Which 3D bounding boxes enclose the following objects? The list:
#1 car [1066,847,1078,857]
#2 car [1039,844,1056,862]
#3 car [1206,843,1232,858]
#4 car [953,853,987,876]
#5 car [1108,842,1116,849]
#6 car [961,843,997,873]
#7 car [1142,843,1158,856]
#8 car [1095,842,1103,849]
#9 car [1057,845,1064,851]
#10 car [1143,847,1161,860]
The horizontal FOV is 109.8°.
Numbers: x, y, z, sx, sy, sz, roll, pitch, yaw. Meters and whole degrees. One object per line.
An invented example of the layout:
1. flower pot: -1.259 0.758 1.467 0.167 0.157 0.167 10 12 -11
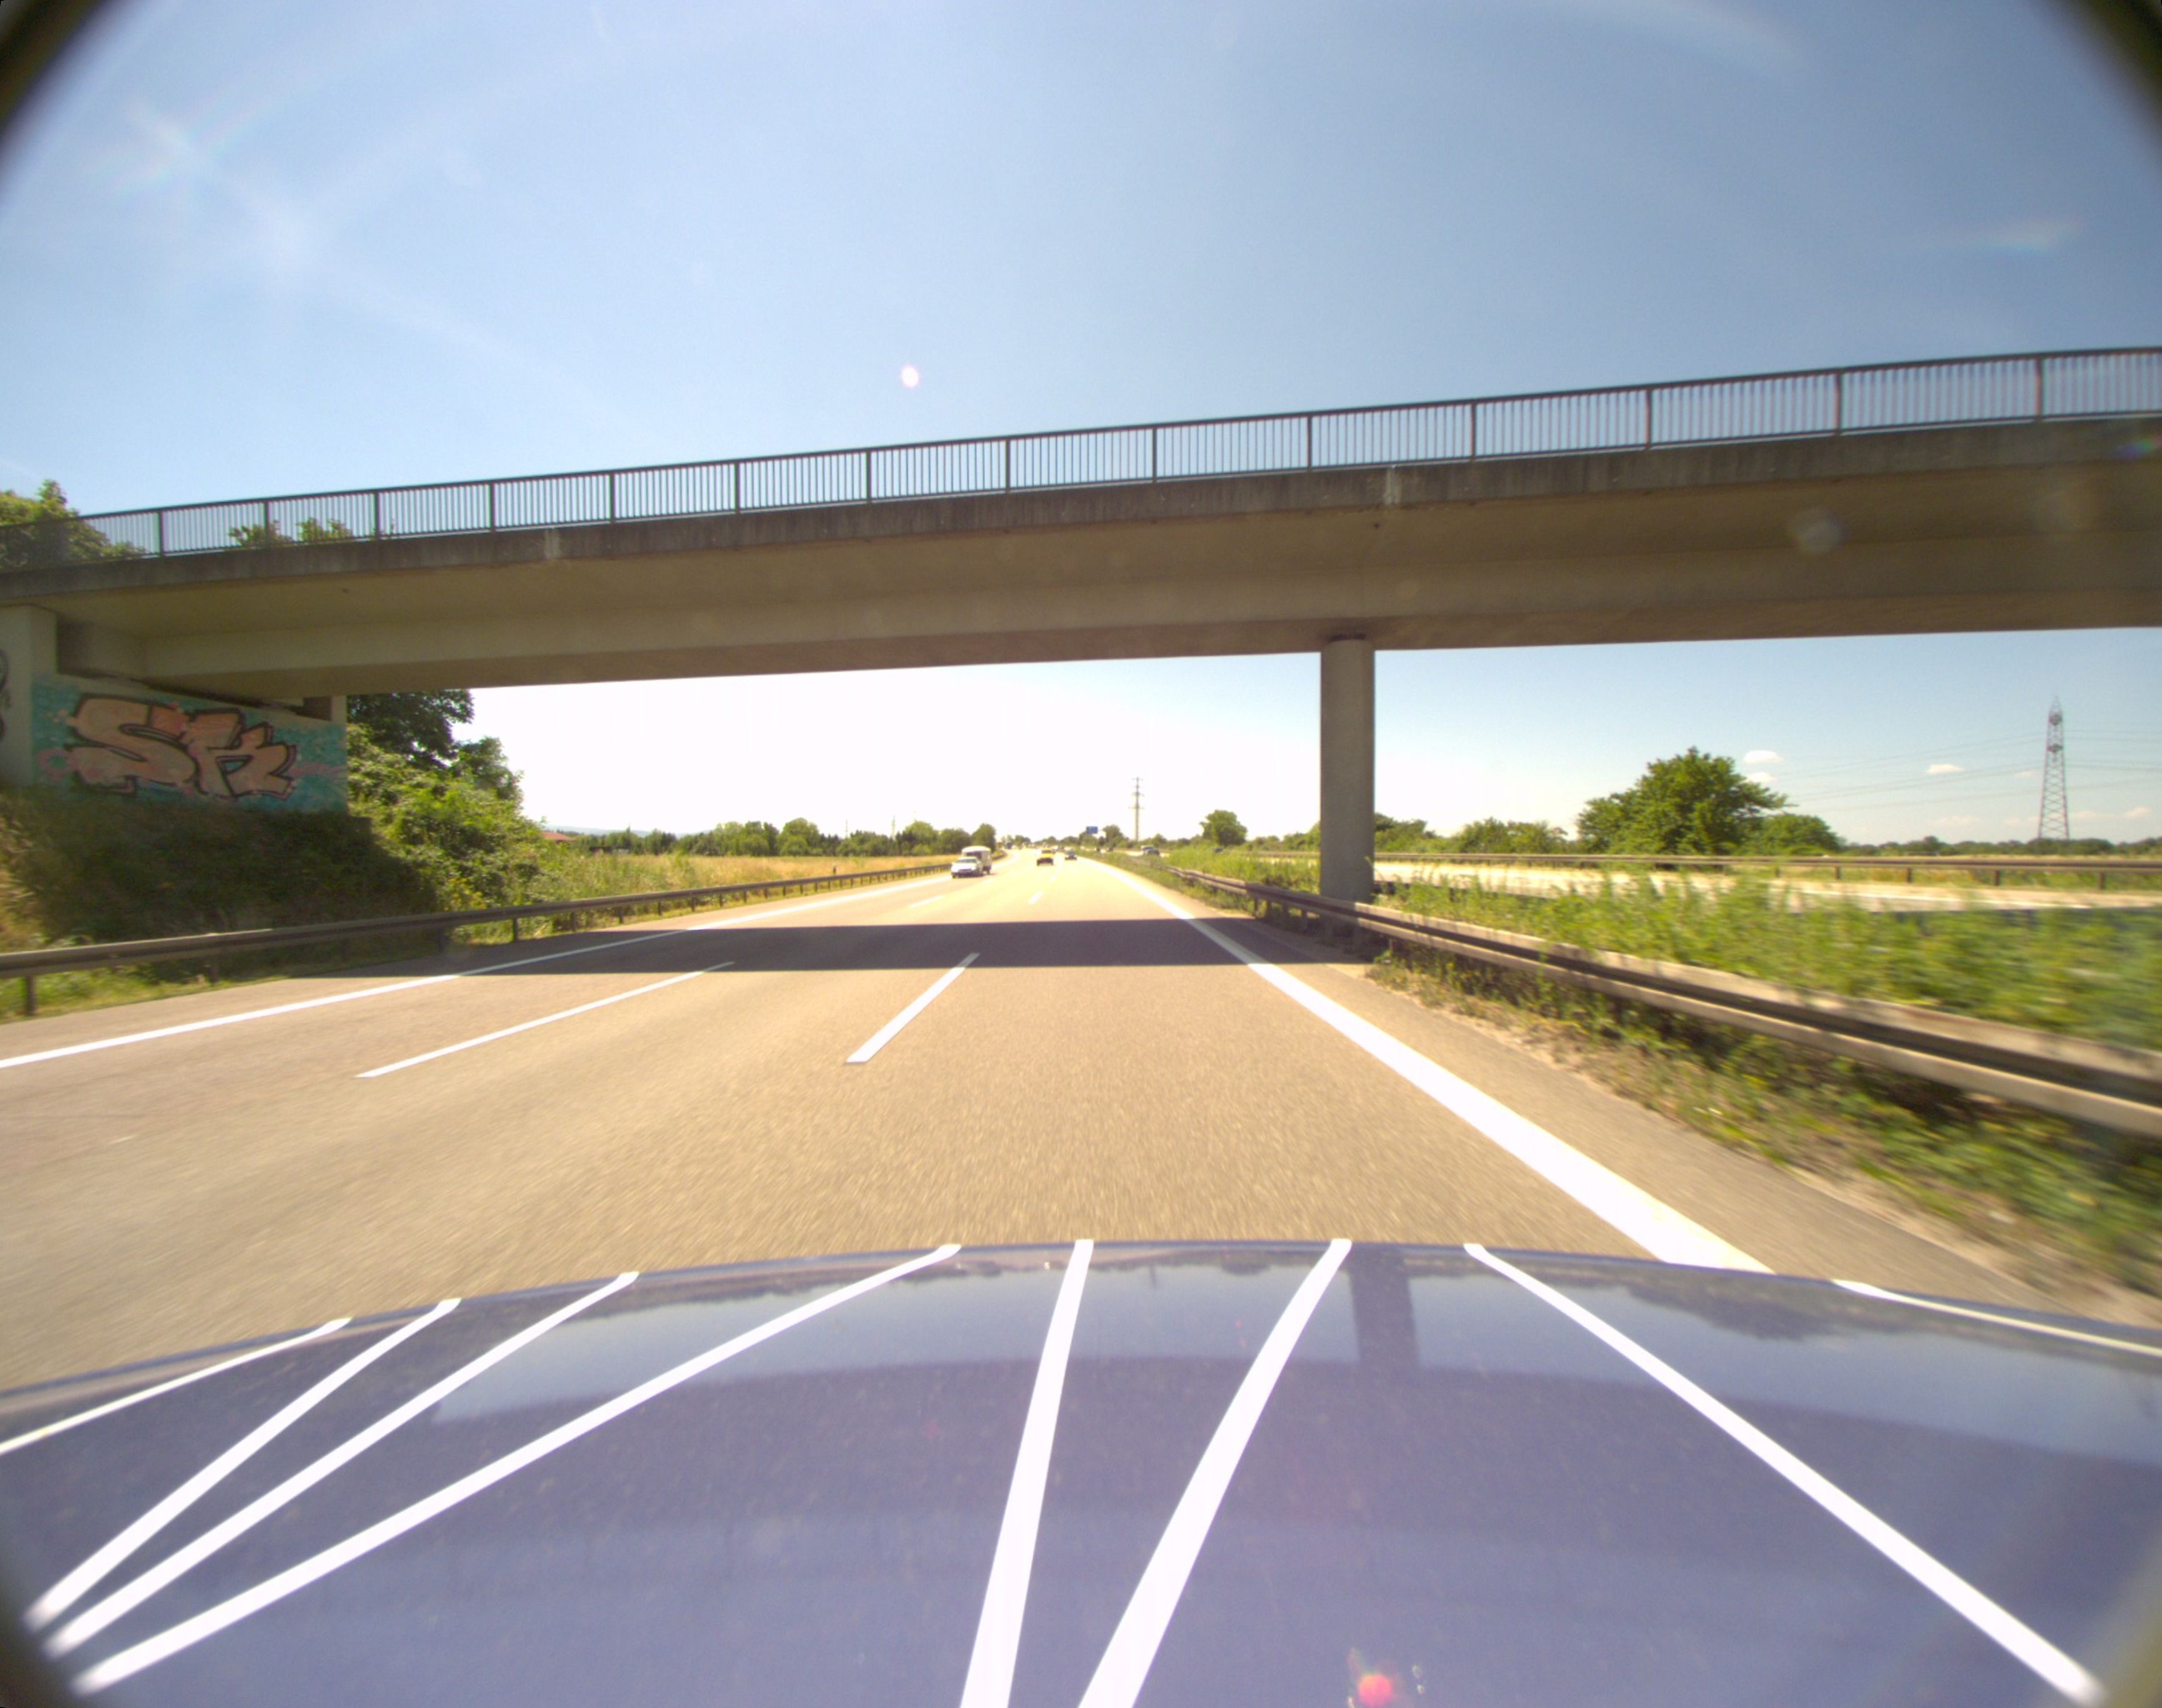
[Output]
1. car: -1.335 -0.272 116.226 1.726 1.478 3.999 -1 0 -1
2. car: -3.794 -0.139 85.593 1.777 1.882 3.832 -1 1 0
3. car: 15.910 -0.450 87.824 1.680 1.592 5.634 -3 1 -1
4. car: -7.771 0.716 53.518 1.784 1.467 3.999 -1 1 0
5. car: 8.897 -2.498 219.280 1.909 2.002 4.823 -2 1 -3
6. car: -7.976 0.289 60.095 2.188 2.253 4.950 -1 1 0
7. car: 11.623 -0.800 127.954 1.909 2.002 4.823 -2 1 -3
8. car: 5.270 -2.344 217.520 1.909 2.002 4.823 -2 1 -3
9. car: -5.817 -1.738 218.791 1.999 1.707 3.999 -1 1 0
10. car: 8.538 -0.082 91.328 1.715 1.565 3.999 -1 1 -1
